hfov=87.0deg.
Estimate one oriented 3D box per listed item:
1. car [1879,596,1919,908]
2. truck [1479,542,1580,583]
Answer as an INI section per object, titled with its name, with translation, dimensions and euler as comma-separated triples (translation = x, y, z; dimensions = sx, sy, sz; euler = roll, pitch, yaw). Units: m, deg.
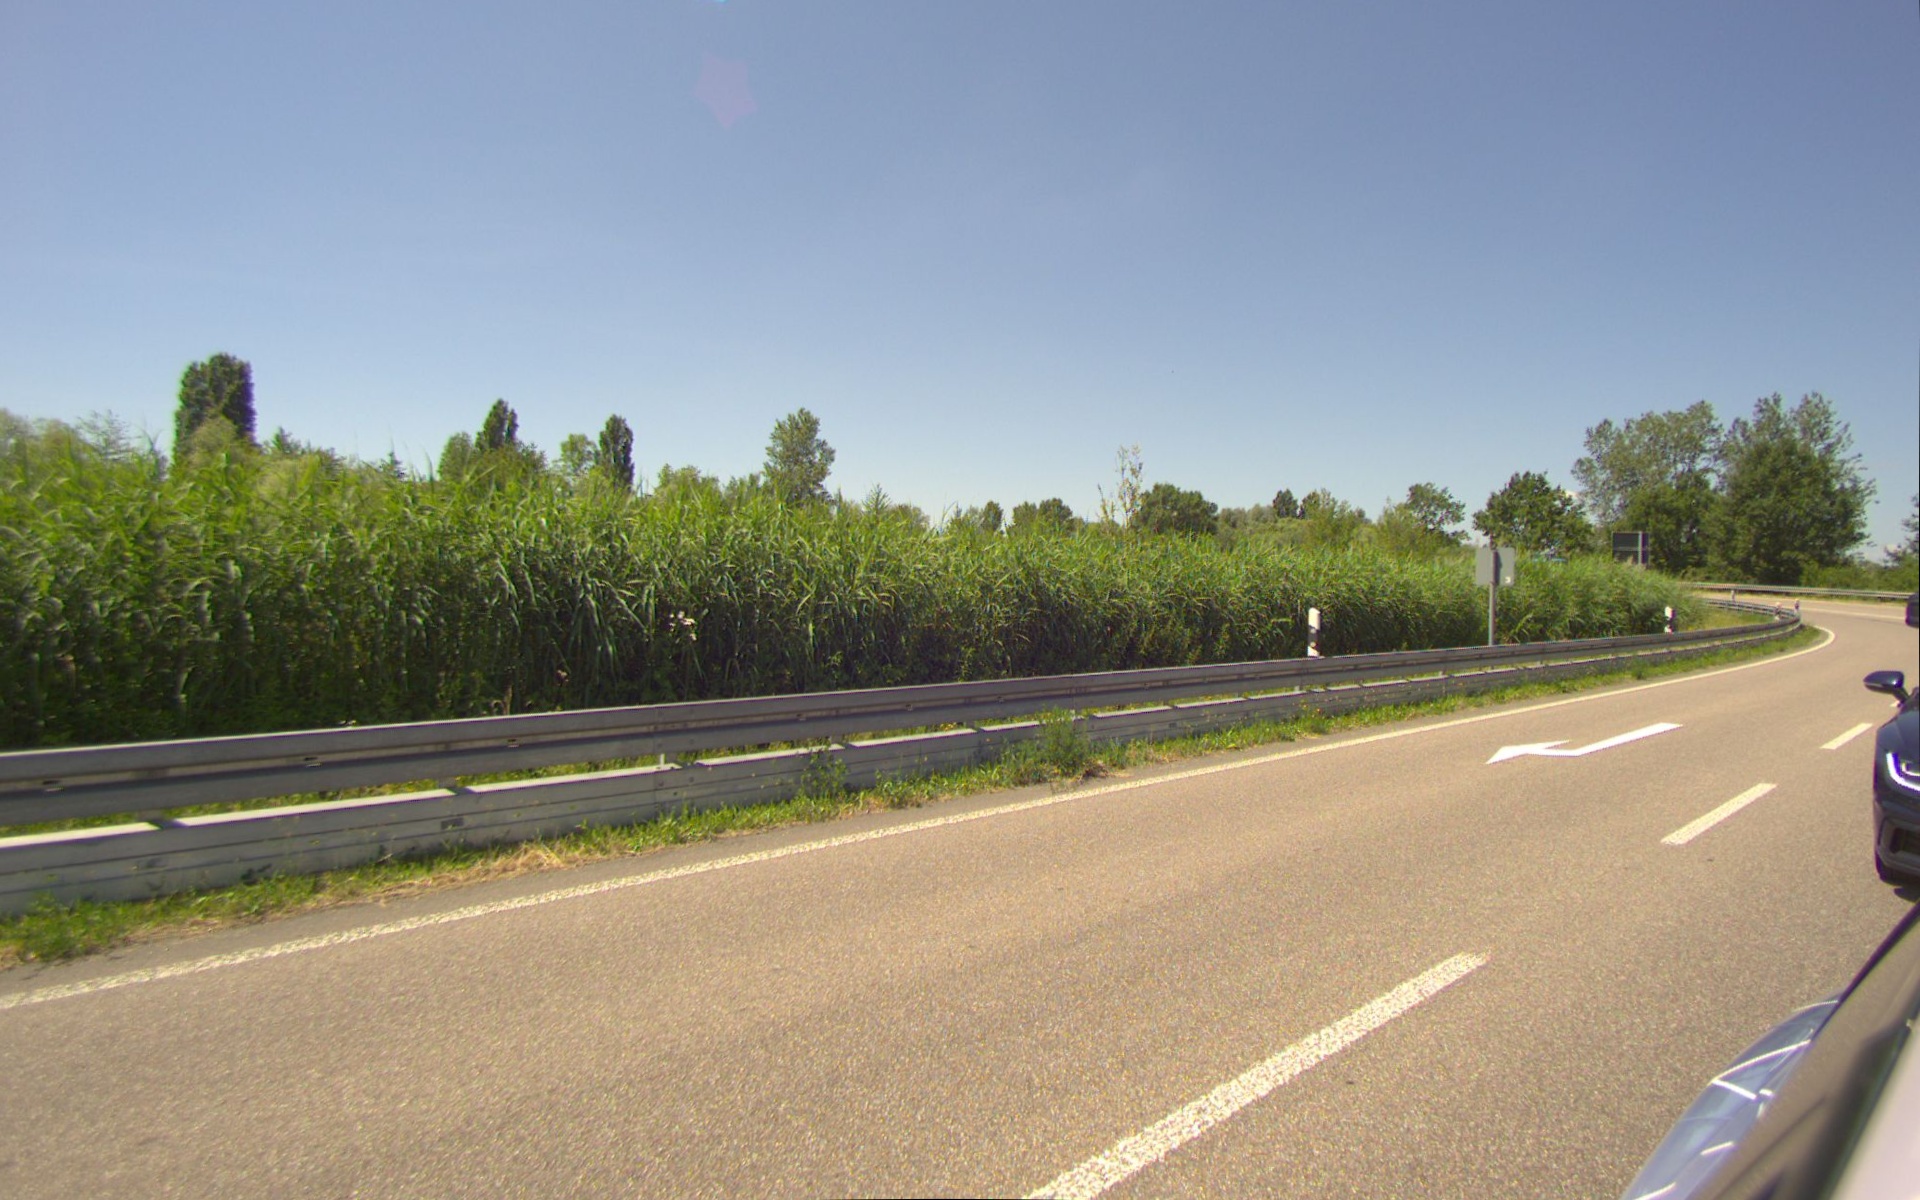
[car]
translation = 6.372, 0.691, 5.401
dimensions = 3.931, 1.427, 1.759
euler = -1, 1, -41
[truck]
translation = 46.219, -2.968, 82.566
dimensions = 2.526, 3.108, 9.089
euler = 0, 1, -5
